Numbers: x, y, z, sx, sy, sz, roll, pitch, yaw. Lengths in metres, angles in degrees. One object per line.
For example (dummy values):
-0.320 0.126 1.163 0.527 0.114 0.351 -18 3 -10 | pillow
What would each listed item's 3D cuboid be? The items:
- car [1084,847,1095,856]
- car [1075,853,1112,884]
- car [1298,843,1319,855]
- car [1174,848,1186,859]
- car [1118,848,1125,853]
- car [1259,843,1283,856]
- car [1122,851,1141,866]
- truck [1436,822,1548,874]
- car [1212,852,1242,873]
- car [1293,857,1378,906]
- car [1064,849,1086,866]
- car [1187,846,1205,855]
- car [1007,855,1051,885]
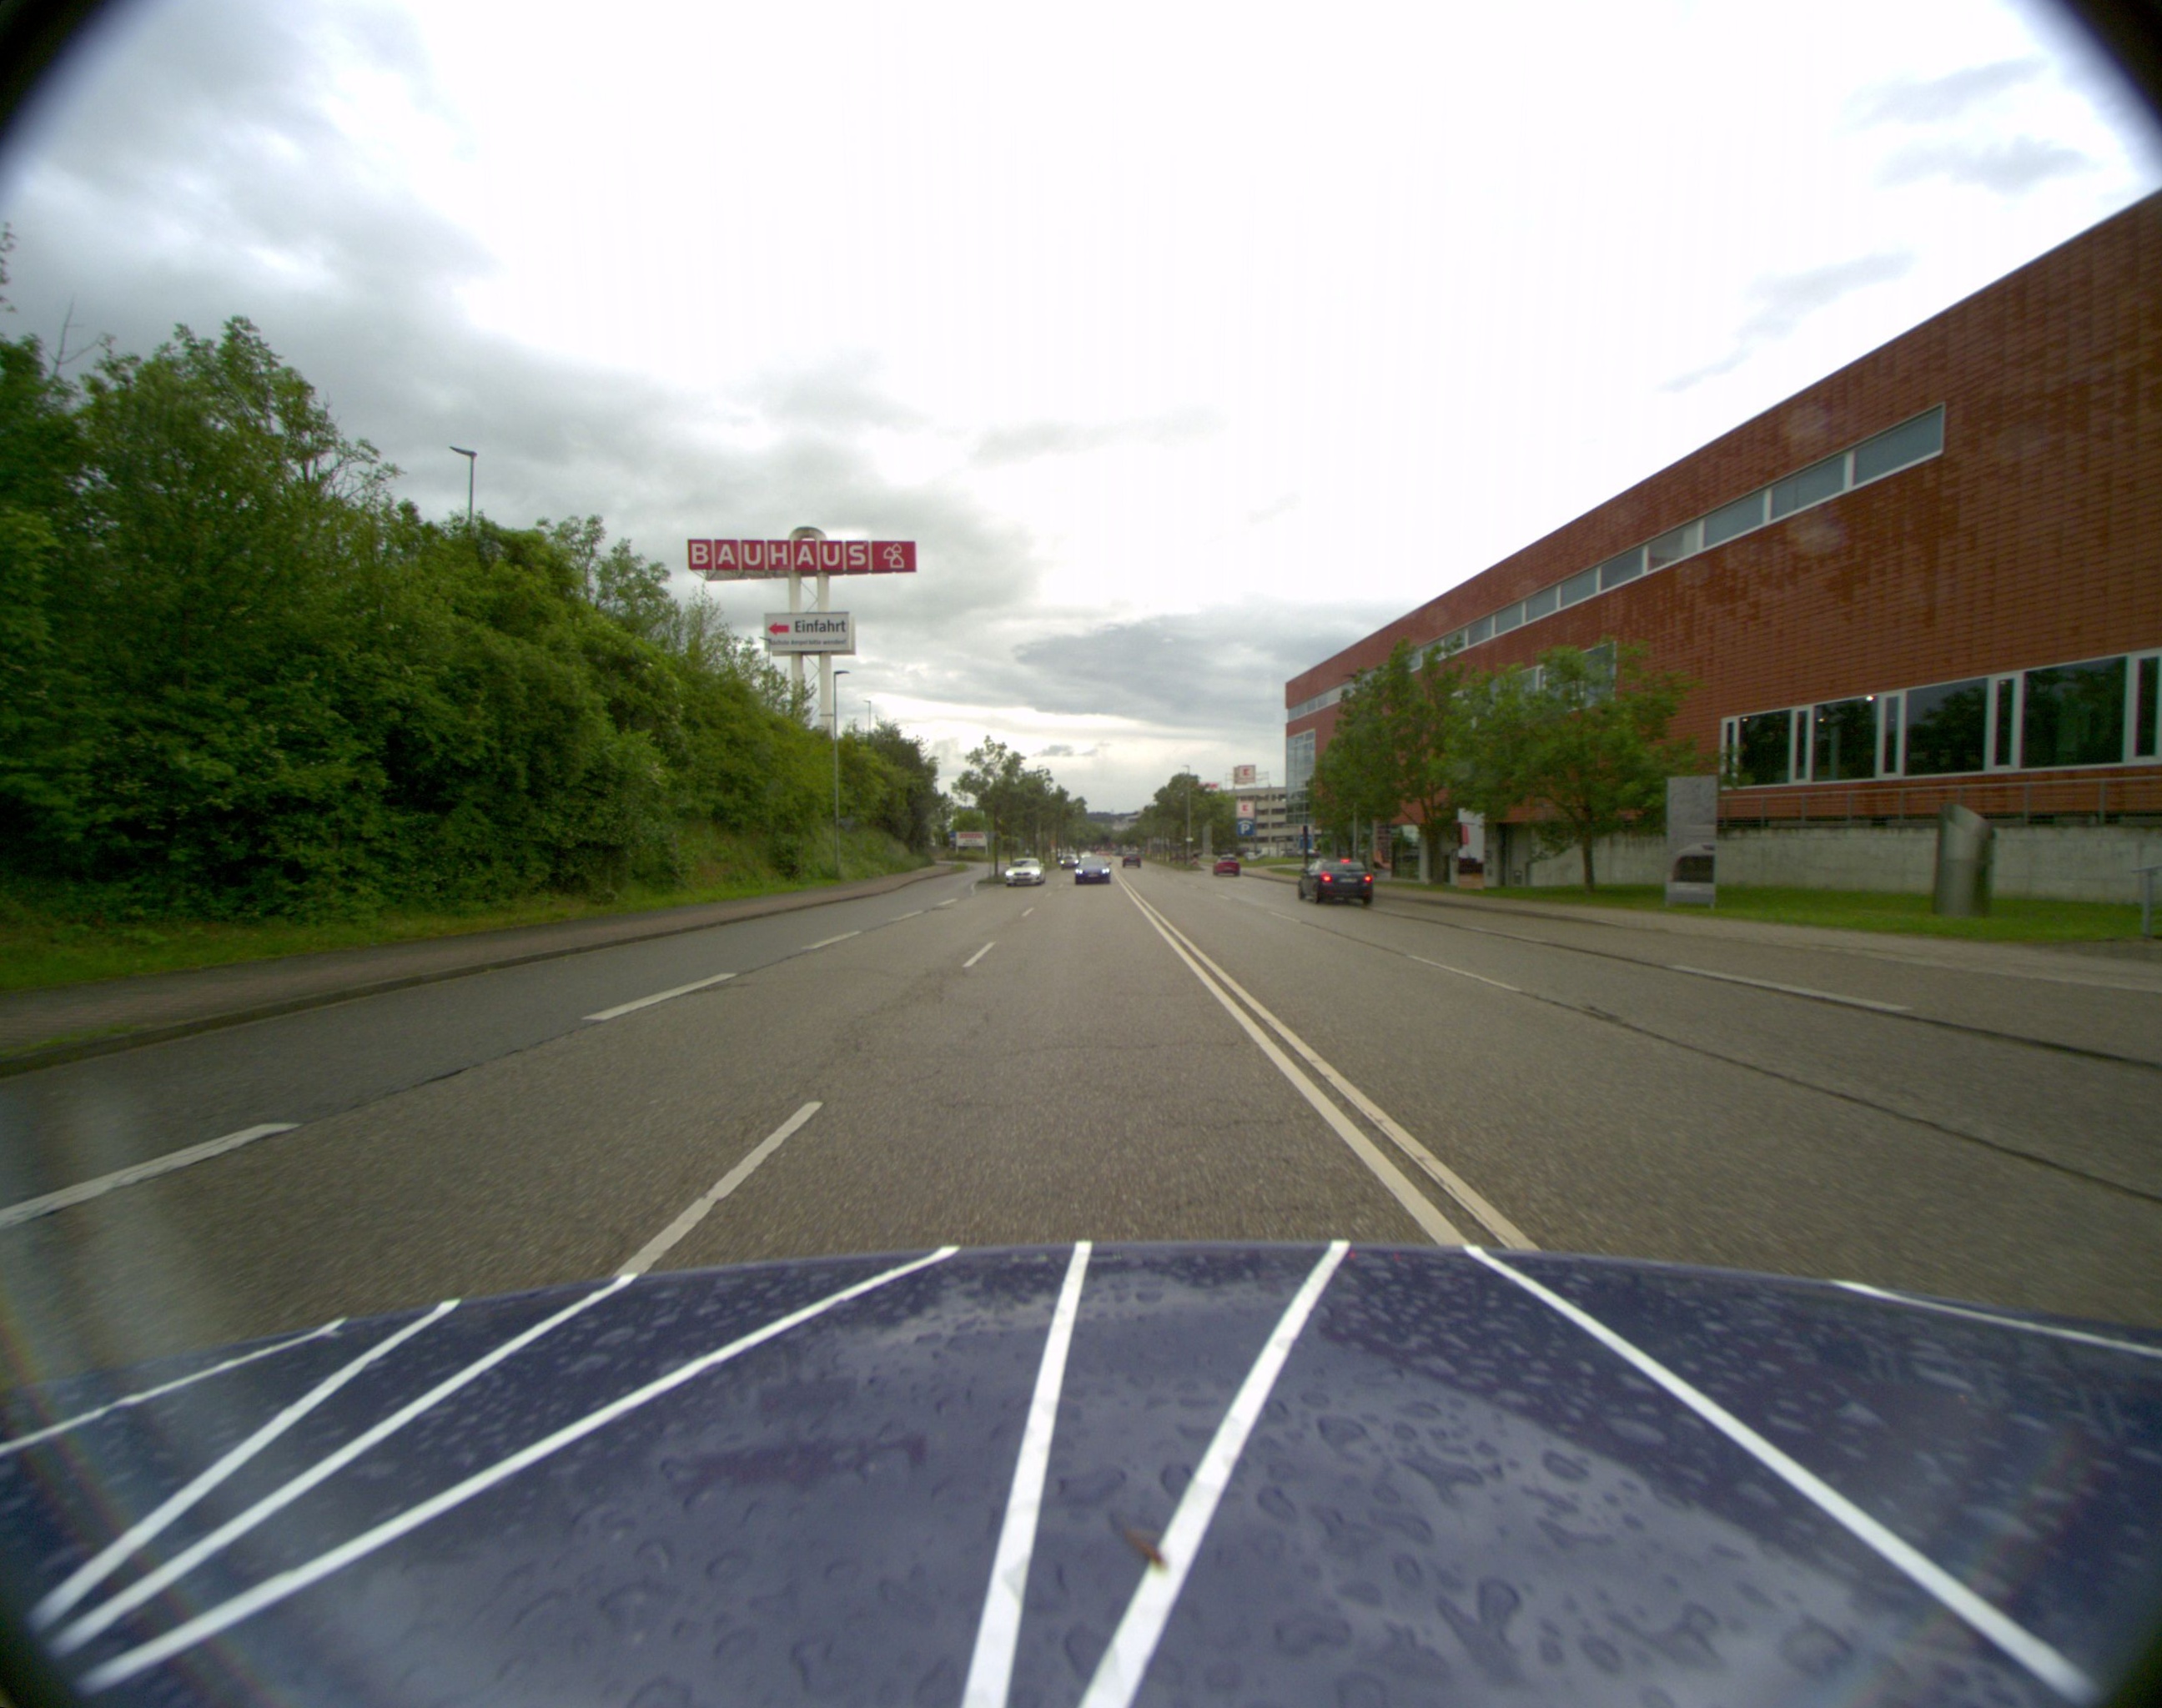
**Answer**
1.704 -0.495 150.671 1.853 1.565 3.998 -2 2 -2 | car
0.665 0.712 39.974 1.827 1.473 4.840 -1 1 1 | car
26.404 -0.620 88.171 1.509 1.276 3.450 -2 1 2 | car
16.704 -0.093 128.450 1.832 1.608 4.002 -2 0 7 | car
12.862 -1.221 242.104 2.114 1.610 4.840 2 1 1 | car
25.991 -0.624 104.124 1.834 1.608 4.436 0 1 -6 | car
5.404 0.433 81.324 1.863 1.568 4.320 1 0 1 | car
26.434 -0.417 48.999 6.152 3.289 2.023 0 2 -4 | truck
10.901 0.619 56.908 1.680 1.498 4.217 1 0 4 | car
8.419 0.849 25.476 1.740 1.445 4.001 1 0 4 | car
-0.550 0.322 78.675 2.114 1.610 4.840 -1 1 1 | car
23.983 -0.673 158.594 1.845 1.839 4.009 0 0 43 | car
-2.769 0.809 41.141 1.863 1.473 4.000 -1 1 3 | car
